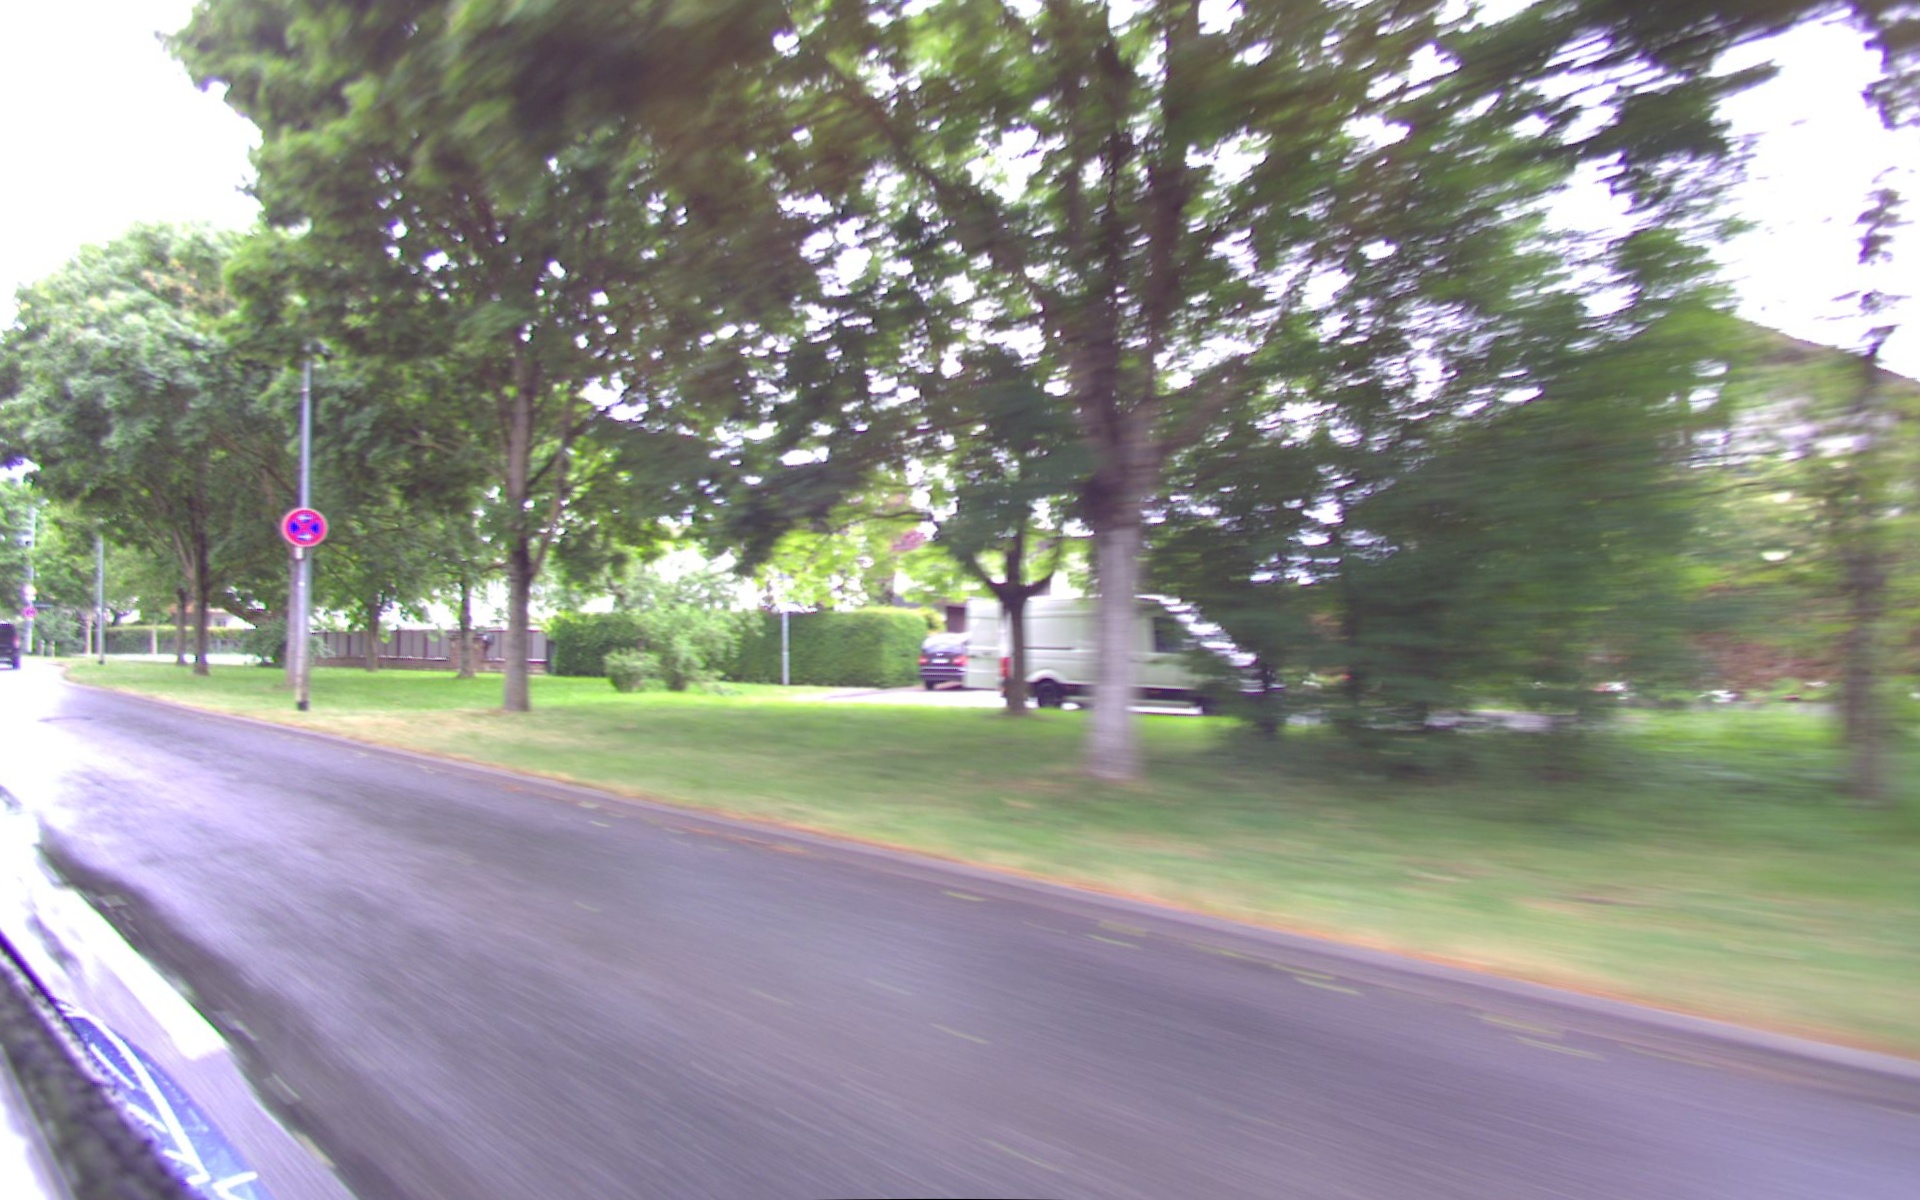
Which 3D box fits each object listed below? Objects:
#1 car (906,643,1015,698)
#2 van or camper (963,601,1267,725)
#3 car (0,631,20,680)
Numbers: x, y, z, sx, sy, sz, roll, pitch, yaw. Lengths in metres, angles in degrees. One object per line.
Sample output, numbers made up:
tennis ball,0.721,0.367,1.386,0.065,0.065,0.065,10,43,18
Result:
car,0.097,2.175,31.955,1.894,1.606,3.963,-1,-3,27
van or camper,3.200,1.313,21.670,6.135,2.354,2.073,-2,-4,33
car,-36.948,2.097,38.376,1.756,1.787,4.288,2,-3,-45
